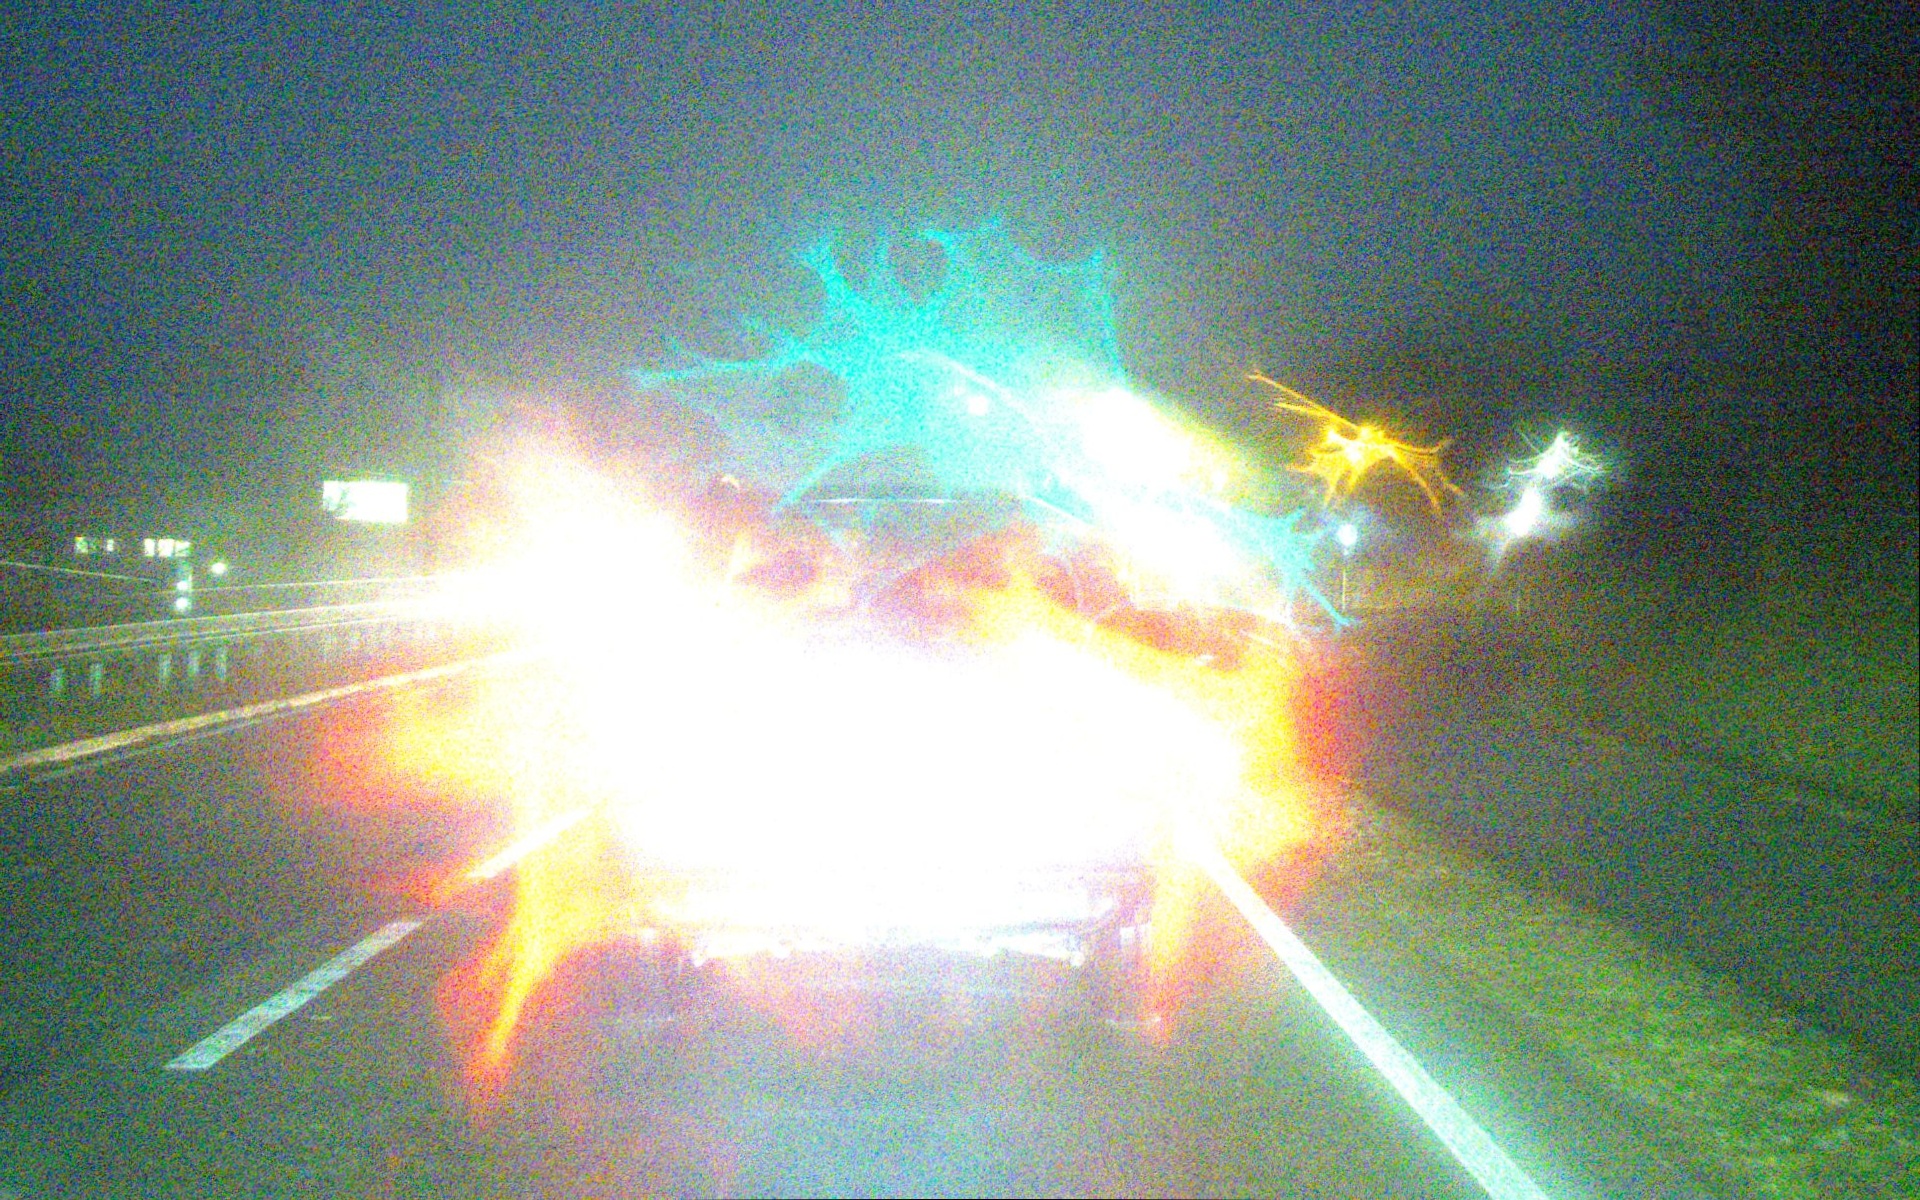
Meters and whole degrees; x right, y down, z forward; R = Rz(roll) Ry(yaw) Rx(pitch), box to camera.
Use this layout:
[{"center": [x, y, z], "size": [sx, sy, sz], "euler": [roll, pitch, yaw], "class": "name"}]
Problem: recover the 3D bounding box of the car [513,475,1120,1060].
[{"center": [-0.423, 0.480, 12.128], "size": [1.775, 1.706, 4.000], "euler": [0, 0, 0], "class": "car"}]
